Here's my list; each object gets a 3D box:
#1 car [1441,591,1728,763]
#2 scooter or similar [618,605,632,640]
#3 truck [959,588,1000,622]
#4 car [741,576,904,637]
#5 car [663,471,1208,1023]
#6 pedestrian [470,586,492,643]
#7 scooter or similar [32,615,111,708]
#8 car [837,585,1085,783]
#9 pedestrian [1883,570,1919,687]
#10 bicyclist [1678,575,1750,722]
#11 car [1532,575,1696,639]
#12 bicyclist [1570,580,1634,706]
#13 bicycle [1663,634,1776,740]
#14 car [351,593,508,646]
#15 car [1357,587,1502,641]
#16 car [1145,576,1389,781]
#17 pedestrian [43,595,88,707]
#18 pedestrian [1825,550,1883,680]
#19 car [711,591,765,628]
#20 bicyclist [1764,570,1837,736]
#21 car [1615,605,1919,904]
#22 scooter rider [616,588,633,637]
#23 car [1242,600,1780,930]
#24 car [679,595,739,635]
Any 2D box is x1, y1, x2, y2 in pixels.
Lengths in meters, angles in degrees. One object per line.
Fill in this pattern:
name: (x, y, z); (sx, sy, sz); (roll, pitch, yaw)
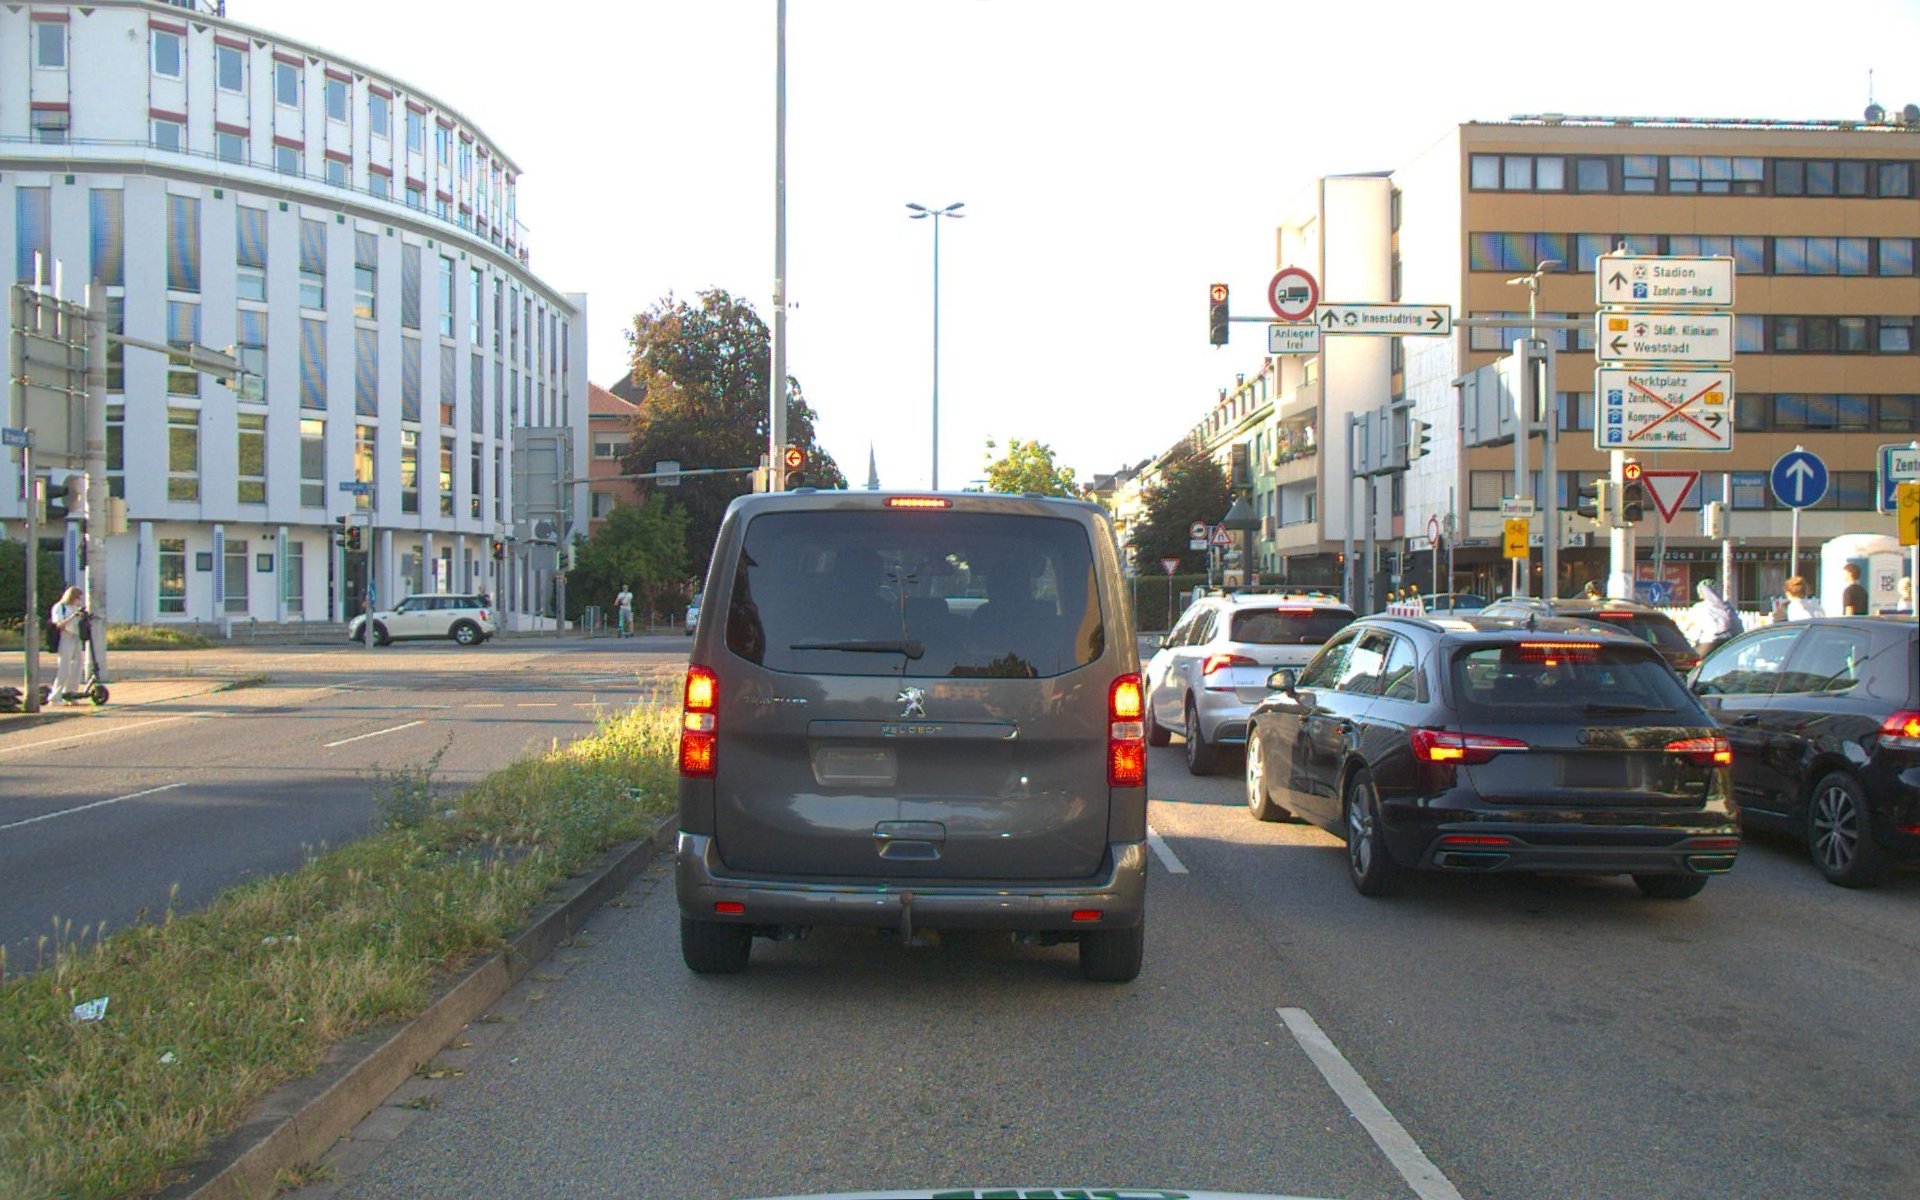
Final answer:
car: (5.874, 0.659, 15.935); (1.474, 1.474, 3.304); (0, 0, -1)
scooter or similar: (-11.855, 0.783, 58.590); (0.279, 1.209, 1.169); (0, 0, -1)
truck: (1.267, 0.286, 104.424); (2.082, 2.123, 4.635); (0, 0, 6)
car: (-3.718, 0.160, 44.426); (4.258, 1.576, 1.784); (0, 0, -9)
car: (-0.117, 0.506, 8.053); (1.868, 1.896, 4.525); (1, 0, -1)
pedestrian: (-14.804, 0.437, 51.150); (0.615, 1.752, 0.669); (0, 0, -15)
scooter or similar: (-12.176, 0.836, 22.689); (0.877, 1.255, 0.370); (0, 0, -12)
car: (-0.019, 0.653, 15.083); (1.953, 1.557, 3.999); (0, 0, -1)
pedestrian: (13.983, 0.415, 24.317); (0.593, 1.700, 0.451); (0, 0, -21)
bicyclist: (8.134, 0.511, 17.855); (0.432, 1.552, 0.725); (0, 0, -1)
car: (19.607, 0.192, 49.657); (4.136, 1.849, 1.997); (0, 0, -8)
bicyclist: (8.062, 0.526, 20.789); (0.503, 1.552, 0.725); (0, 0, -1)
bicycle: (8.129, 0.903, 17.773); (0.329, 1.025, 1.855); (0, 0, -1)
car: (-14.881, 0.537, 46.591); (3.911, 1.445, 1.785); (0, 0, -7)
car: (13.347, 0.387, 47.135); (3.604, 1.412, 1.694); (-1, 0, -7)
car: (2.720, 0.634, 15.389); (1.498, 1.641, 3.744); (1, 0, -1)
pedestrian: (-12.372, 0.694, 22.879); (0.466, 1.532, 0.334); (0, 0, -13)
pedestrian: (13.026, 0.216, 24.106); (0.560, 1.866, 0.485); (0, 0, -17)
car: (-9.137, 0.363, 68.285); (1.819, 1.445, 3.998); (0, 0, -2)
bicyclist: (7.971, 0.495, 15.694); (0.432, 1.552, 0.482); (0, 0, -1)
car: (5.617, 0.798, 10.205); (1.600, 1.474, 3.744); (1, 0, -1)
scooter rider: (-11.903, 0.424, 58.613); (0.471, 1.727, 0.636); (0, 0, -1)
car: (2.870, 0.752, 9.627); (1.647, 1.446, 4.213); (1, 0, -1)
car: (-9.464, 0.556, 62.606); (1.819, 1.445, 3.998); (0, 0, -2)
